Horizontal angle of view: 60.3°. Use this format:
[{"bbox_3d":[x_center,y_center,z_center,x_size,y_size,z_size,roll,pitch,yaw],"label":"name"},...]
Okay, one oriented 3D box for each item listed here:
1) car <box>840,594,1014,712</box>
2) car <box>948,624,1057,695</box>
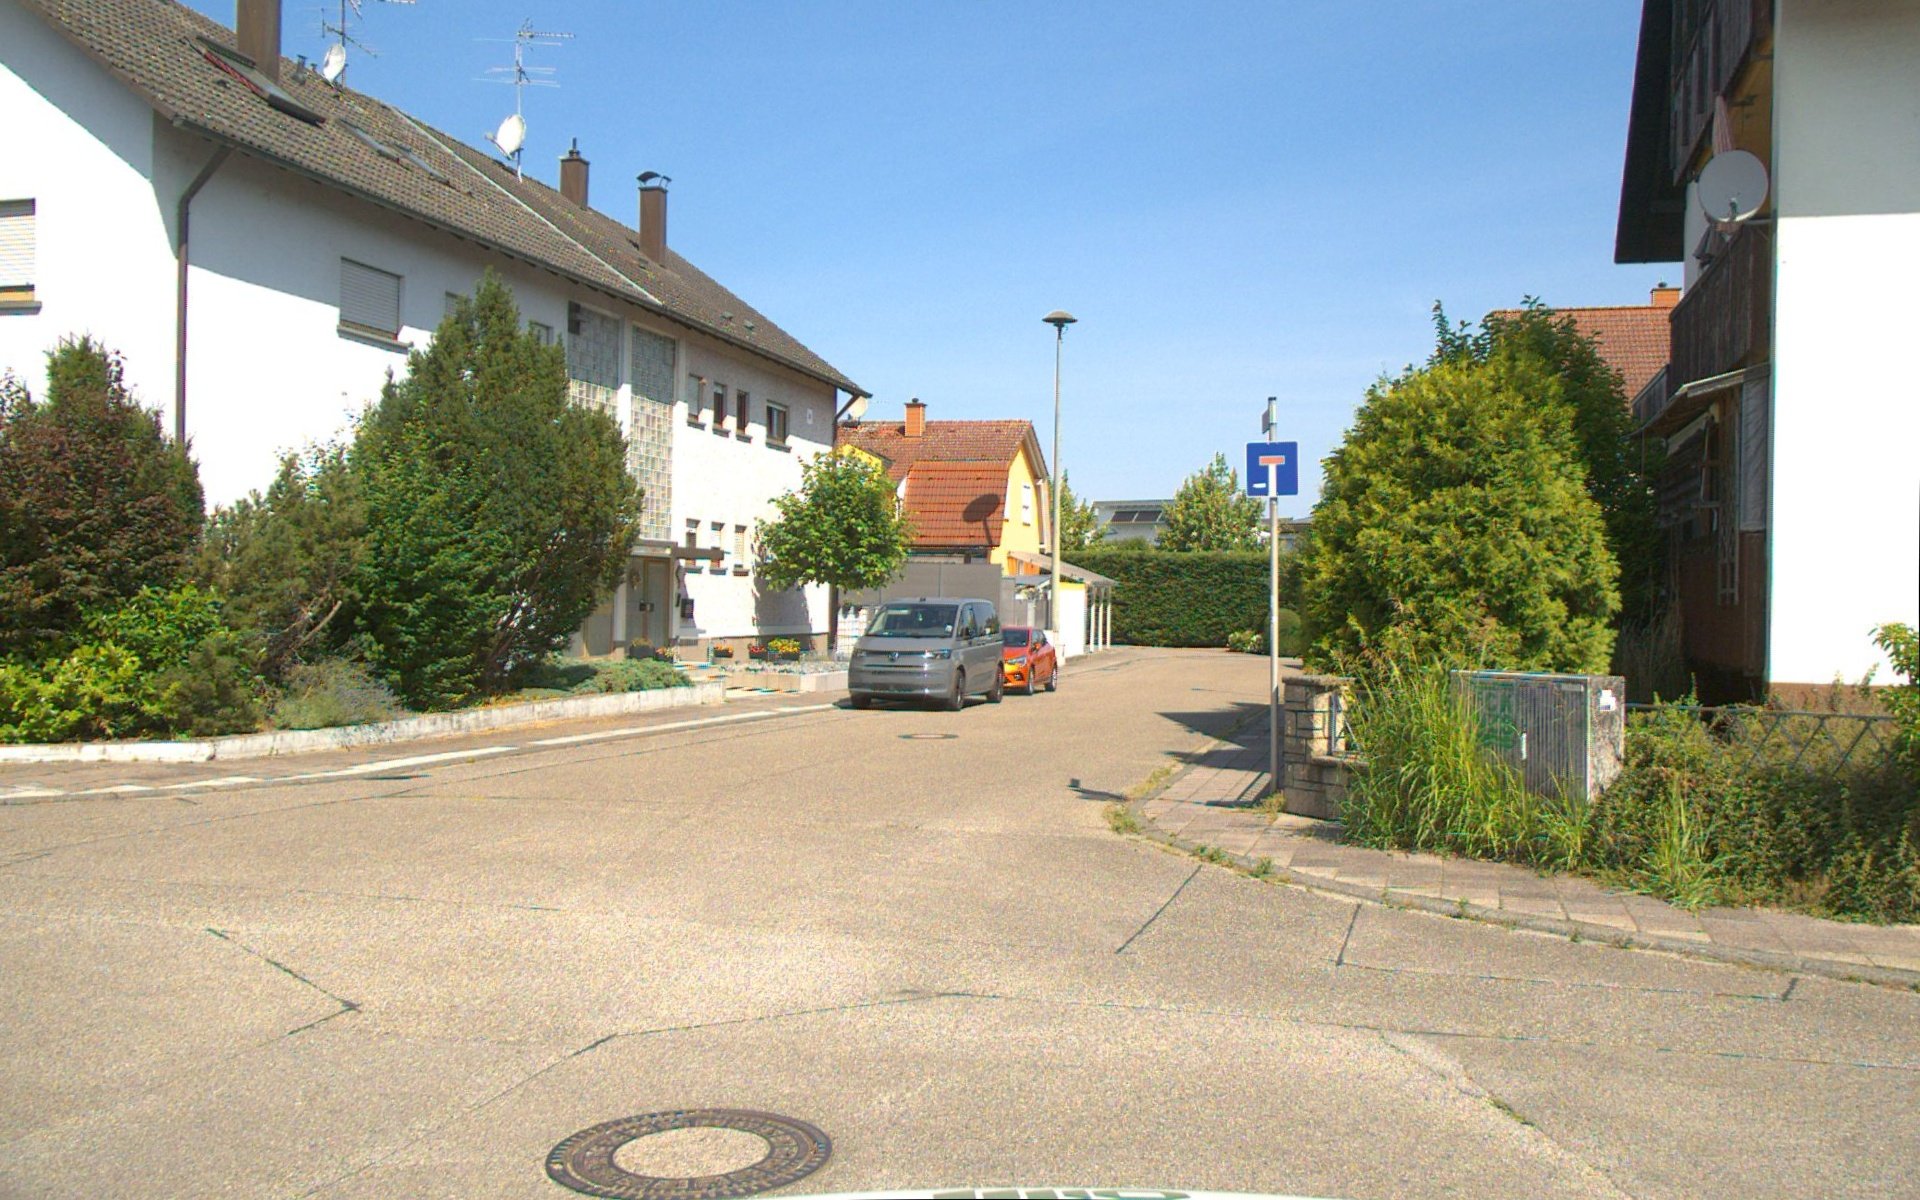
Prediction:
[{"bbox_3d":[-0.486,0.873,29.367,1.861,1.902,4.374,1,0,16],"label":"car"},{"bbox_3d":[0.976,1.248,35.700,1.616,1.389,3.782,1,0,13],"label":"car"}]
